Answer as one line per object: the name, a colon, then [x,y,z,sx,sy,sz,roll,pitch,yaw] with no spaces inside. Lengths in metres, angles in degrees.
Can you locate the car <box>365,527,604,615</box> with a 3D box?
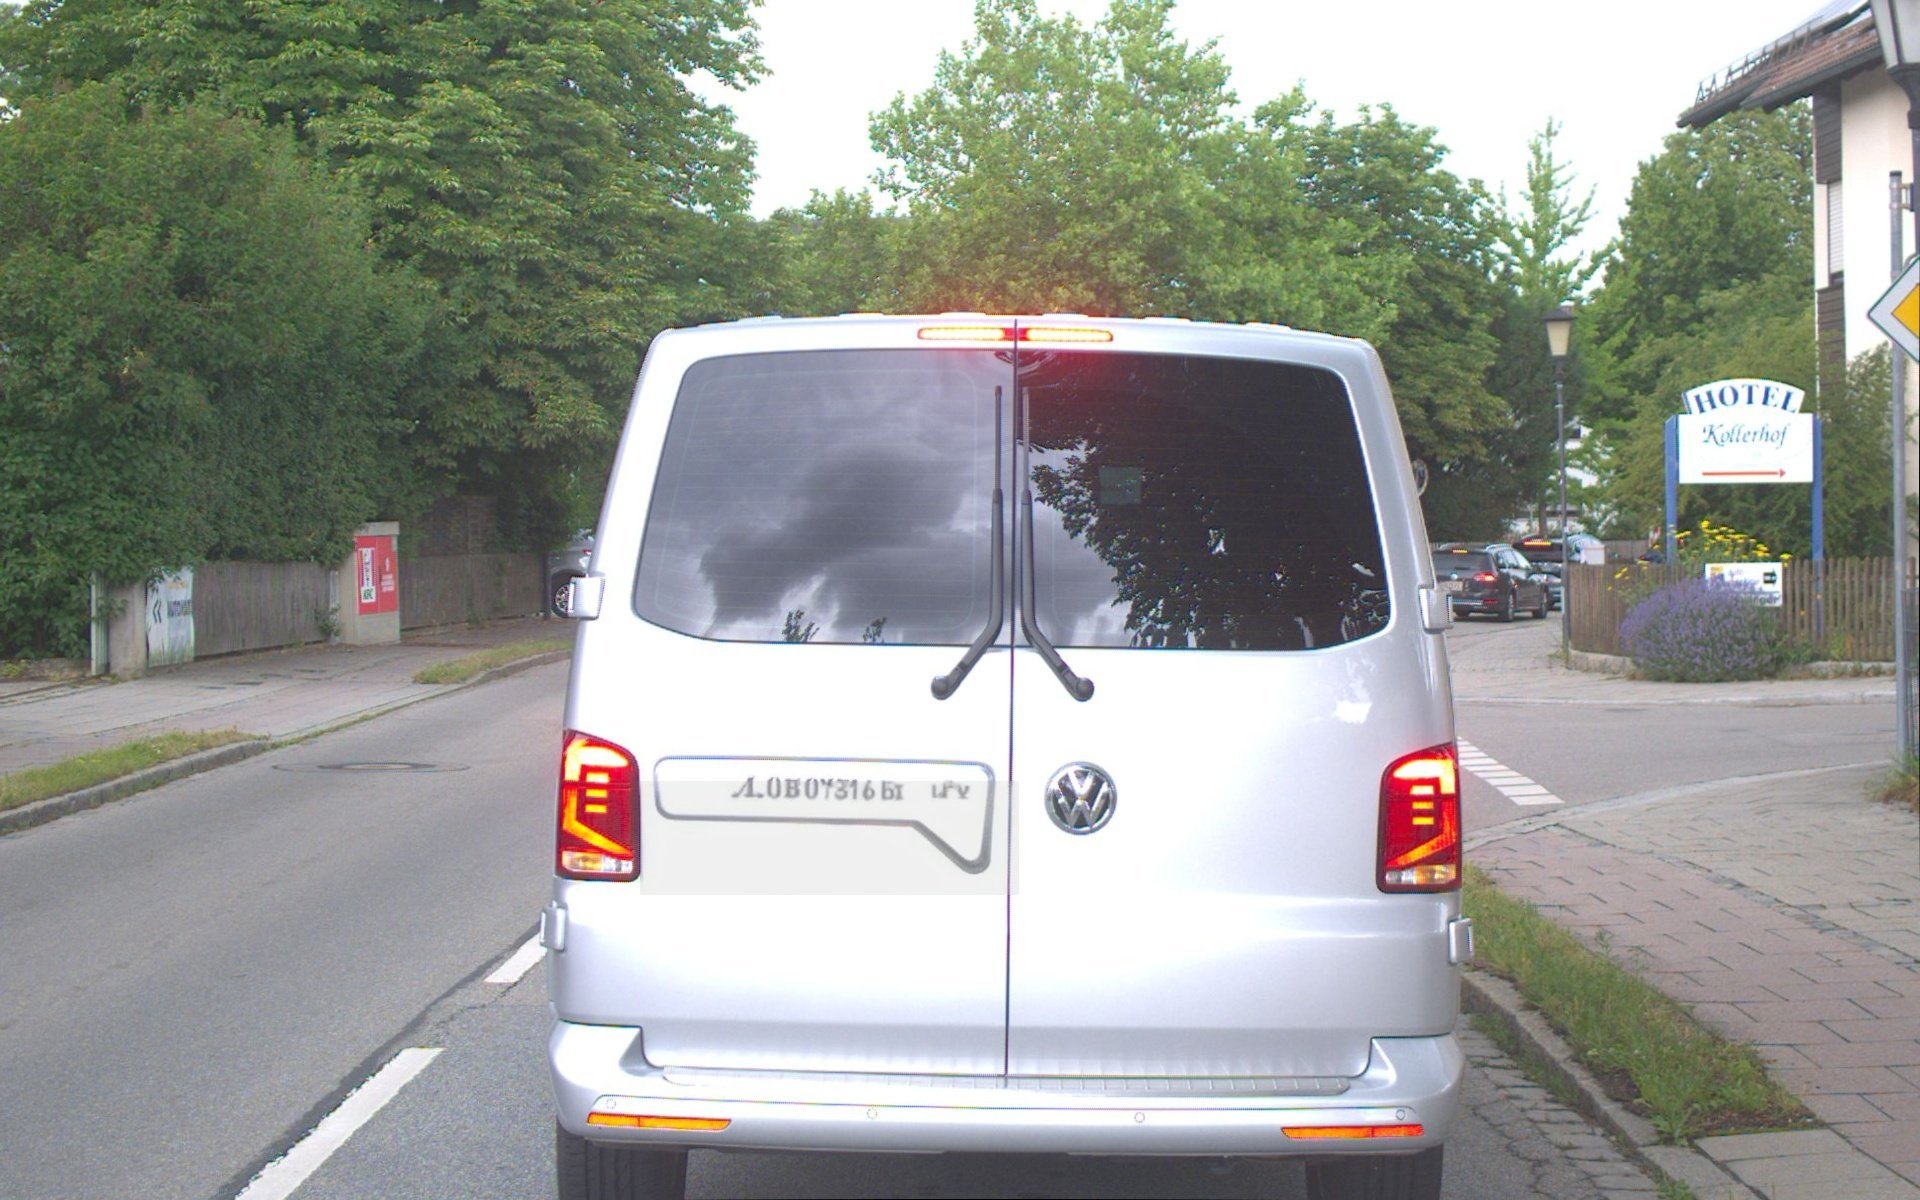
car: [-8.139,-0.513,58.911,3.986,1.481,2.001,0,1,-8]

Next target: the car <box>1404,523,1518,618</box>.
car: [9.632,-0.591,65.884,1.882,1.742,4.078,-1,1,12]

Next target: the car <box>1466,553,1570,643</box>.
car: [11.811,-0.066,72.632,1.882,1.819,3.918,0,1,13]

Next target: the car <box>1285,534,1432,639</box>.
car: [6.110,-0.237,52.341,1.882,1.530,3.919,0,1,12]

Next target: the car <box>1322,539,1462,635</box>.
car: [7.223,-0.242,57.221,1.882,1.530,3.918,0,1,13]

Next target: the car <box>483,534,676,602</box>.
car: [-7.671,-0.652,69.241,3.749,1.341,1.584,0,1,-10]

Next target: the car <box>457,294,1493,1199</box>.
car: [0.038,0.380,8.243,1.881,1.934,3.921,0,1,0]
